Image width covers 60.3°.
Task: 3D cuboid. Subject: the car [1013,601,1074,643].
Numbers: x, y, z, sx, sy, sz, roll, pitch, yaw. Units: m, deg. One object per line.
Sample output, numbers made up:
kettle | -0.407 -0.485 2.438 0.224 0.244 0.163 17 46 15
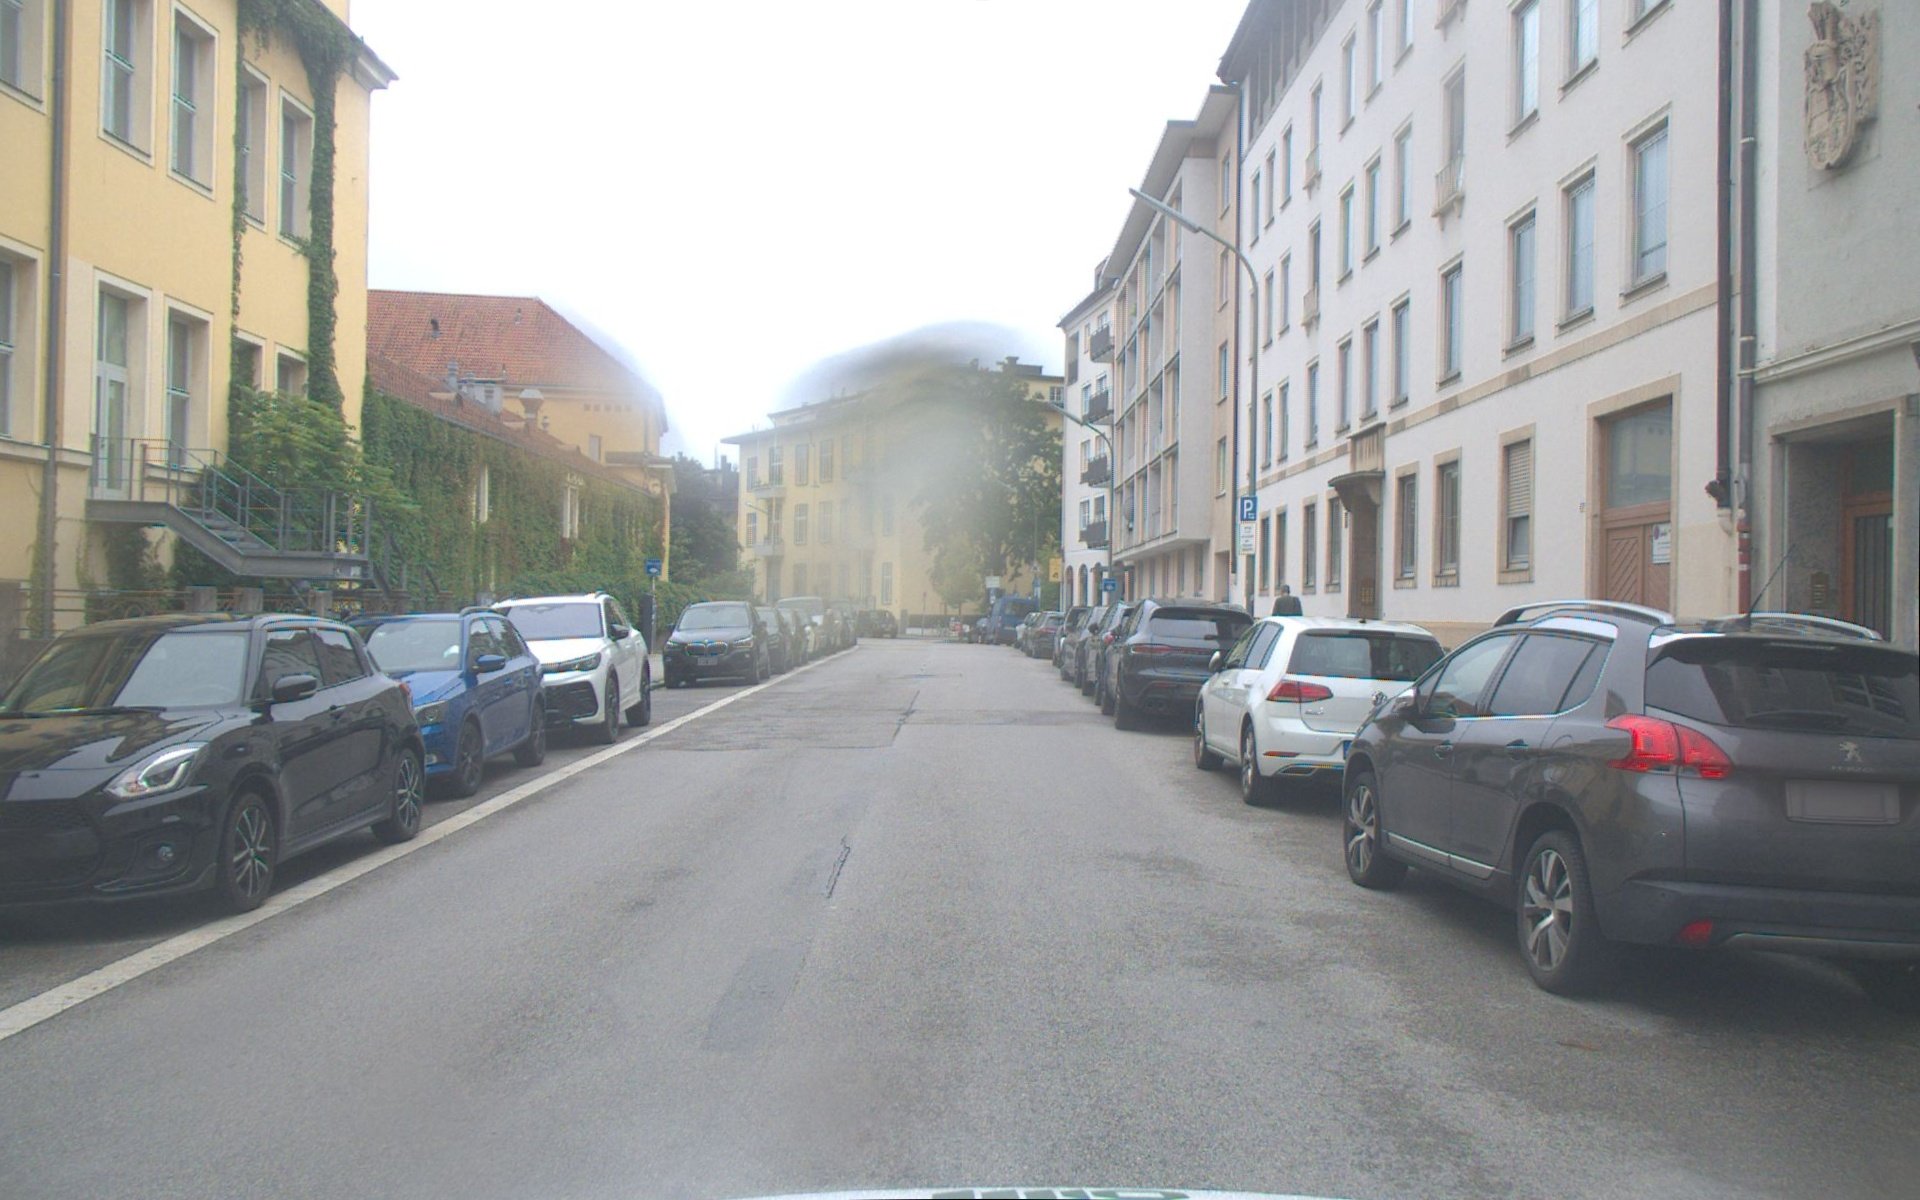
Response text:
car | 3.385 0.908 68.098 1.751 1.560 4.642 4 -1 -6

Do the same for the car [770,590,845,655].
car | -4.890 0.713 53.586 1.848 1.922 4.774 -2 -1 1

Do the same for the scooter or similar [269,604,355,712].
scooter or similar | -8.659 0.746 22.143 0.548 1.393 1.501 0 0 0

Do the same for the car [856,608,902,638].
car | -5.714 1.628 116.231 1.738 1.907 4.350 5 -2 -22

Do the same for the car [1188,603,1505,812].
car | 3.117 0.797 14.251 1.638 1.454 4.530 2 0 0

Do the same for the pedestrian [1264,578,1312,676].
pedestrian | 6.090 0.508 30.736 0.708 1.794 0.904 1 -2 0

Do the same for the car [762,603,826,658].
car | -4.806 0.871 48.282 1.559 1.466 4.017 -2 0 -2

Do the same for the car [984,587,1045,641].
car | 2.583 0.741 79.781 2.039 2.272 5.236 5 -3 -6

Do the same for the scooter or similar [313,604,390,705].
scooter or similar | -8.698 0.761 23.694 0.548 1.393 1.501 0 0 0

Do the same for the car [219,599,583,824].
car | -4.653 0.842 14.507 1.669 1.528 4.493 -5 0 -2

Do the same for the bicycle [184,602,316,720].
bicycle | -8.601 0.707 20.127 0.667 1.352 2.113 1 -1 0

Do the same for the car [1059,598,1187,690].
car | 3.020 0.794 31.687 1.766 1.510 5.318 3 0 -1

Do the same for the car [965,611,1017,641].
car | 1.590 1.337 85.908 1.648 1.413 4.292 5 -2 -12

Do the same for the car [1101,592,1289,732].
car | 2.905 0.728 21.369 1.802 1.549 4.709 2 0 1

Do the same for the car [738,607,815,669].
car | -4.722 0.959 43.028 1.571 1.455 4.250 -3 -1 -1

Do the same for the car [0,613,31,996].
car | -4.569 0.840 4.166 1.749 1.456 4.651 -5 0 0

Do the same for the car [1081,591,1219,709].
car | 2.943 0.745 26.433 1.611 1.617 4.634 3 0 0

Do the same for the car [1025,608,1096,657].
car | 3.155 1.014 52.787 1.710 1.412 4.951 3 -1 -2

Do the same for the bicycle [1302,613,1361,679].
bicycle | 7.336 0.895 32.709 0.503 1.243 1.985 0 0 -7

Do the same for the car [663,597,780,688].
car | -4.694 0.797 33.099 1.753 1.614 4.816 -2 0 -2

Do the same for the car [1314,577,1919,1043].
car | 3.159 0.753 8.056 1.672 1.620 4.359 2 0 -3

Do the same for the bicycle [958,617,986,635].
bicycle | 0.851 1.856 116.045 1.881 1.222 0.596 1 -1 13

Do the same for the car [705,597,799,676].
car | -4.702 0.808 37.956 1.689 1.658 4.464 -2 0 -2

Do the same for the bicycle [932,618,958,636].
bicycle | -1.081 1.917 117.228 1.890 1.222 0.593 1 -1 37

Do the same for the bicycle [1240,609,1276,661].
bicycle | 7.329 0.842 40.769 0.519 1.239 2.103 1 -1 1

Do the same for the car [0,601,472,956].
car | -4.247 0.830 9.402 1.665 1.523 4.148 -3 0 0

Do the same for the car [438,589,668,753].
car | -4.618 0.740 19.474 1.711 1.662 4.853 -1 0 -3

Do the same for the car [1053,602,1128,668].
car | 3.279 0.858 41.994 1.616 1.521 2.881 3 0 0
